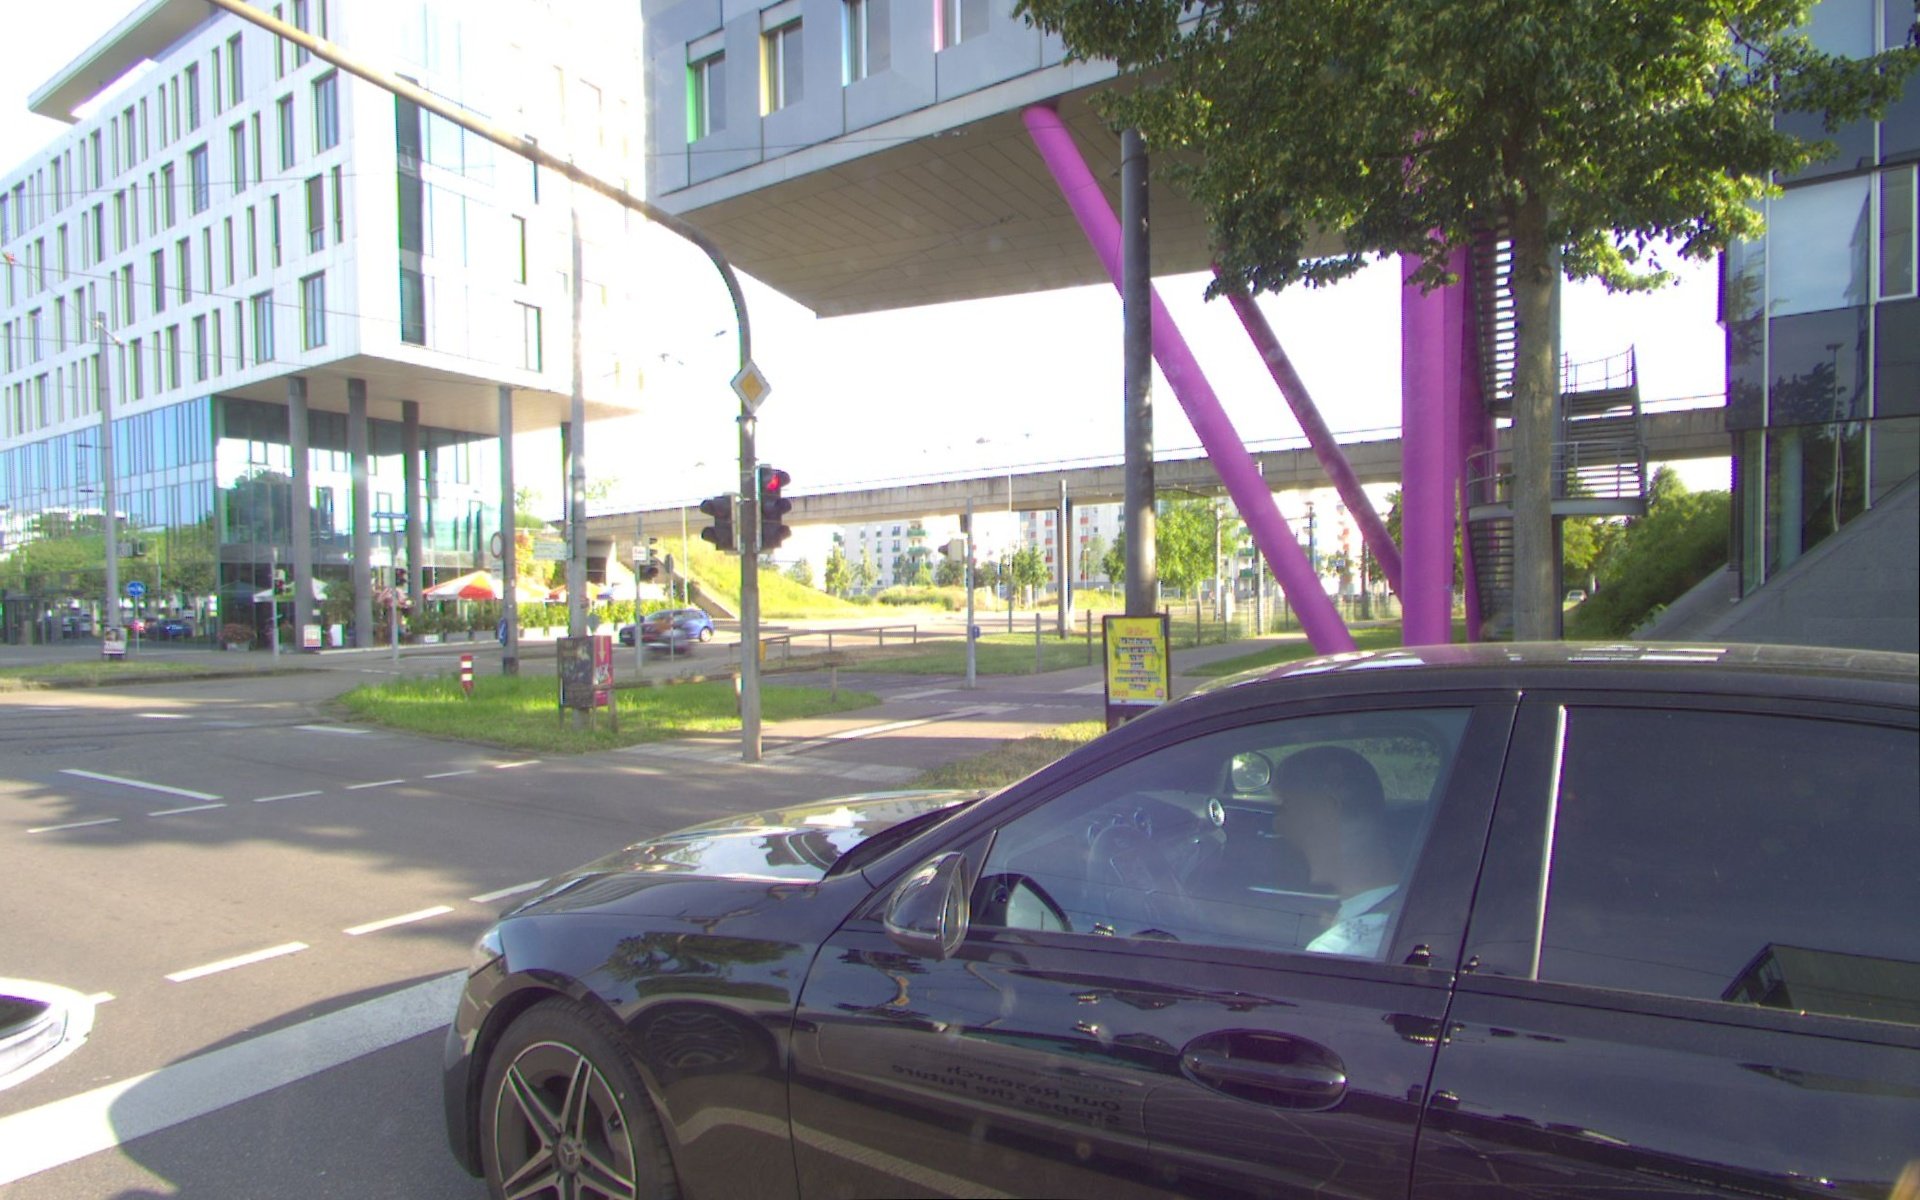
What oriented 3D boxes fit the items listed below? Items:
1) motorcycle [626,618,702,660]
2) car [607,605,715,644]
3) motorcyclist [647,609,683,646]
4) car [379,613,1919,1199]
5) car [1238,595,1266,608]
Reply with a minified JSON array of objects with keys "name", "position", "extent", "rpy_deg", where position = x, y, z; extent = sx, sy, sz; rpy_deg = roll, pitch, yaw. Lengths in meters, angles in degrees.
[{"name":"motorcycle","position":[-9.831,1.262,33.353],"extent":[0.809,1.280,2.536],"rpy_deg":[0,1,30]},{"name":"car","position":[-12.466,0.987,41.949],"extent":[1.832,1.443,4.176],"rpy_deg":[0,1,31]},{"name":"motorcyclist","position":[-9.837,0.911,33.359],"extent":[0.773,1.218,0.844],"rpy_deg":[0,-1,31]},{"name":"car","position":[0.841,0.782,2.109],"extent":[4.493,1.469,1.834],"rpy_deg":[0,-1,34]},{"name":"car","position":[33.610,0.146,115.354],"extent":[1.823,1.443,4.197],"rpy_deg":[-1,0,-1]}]
